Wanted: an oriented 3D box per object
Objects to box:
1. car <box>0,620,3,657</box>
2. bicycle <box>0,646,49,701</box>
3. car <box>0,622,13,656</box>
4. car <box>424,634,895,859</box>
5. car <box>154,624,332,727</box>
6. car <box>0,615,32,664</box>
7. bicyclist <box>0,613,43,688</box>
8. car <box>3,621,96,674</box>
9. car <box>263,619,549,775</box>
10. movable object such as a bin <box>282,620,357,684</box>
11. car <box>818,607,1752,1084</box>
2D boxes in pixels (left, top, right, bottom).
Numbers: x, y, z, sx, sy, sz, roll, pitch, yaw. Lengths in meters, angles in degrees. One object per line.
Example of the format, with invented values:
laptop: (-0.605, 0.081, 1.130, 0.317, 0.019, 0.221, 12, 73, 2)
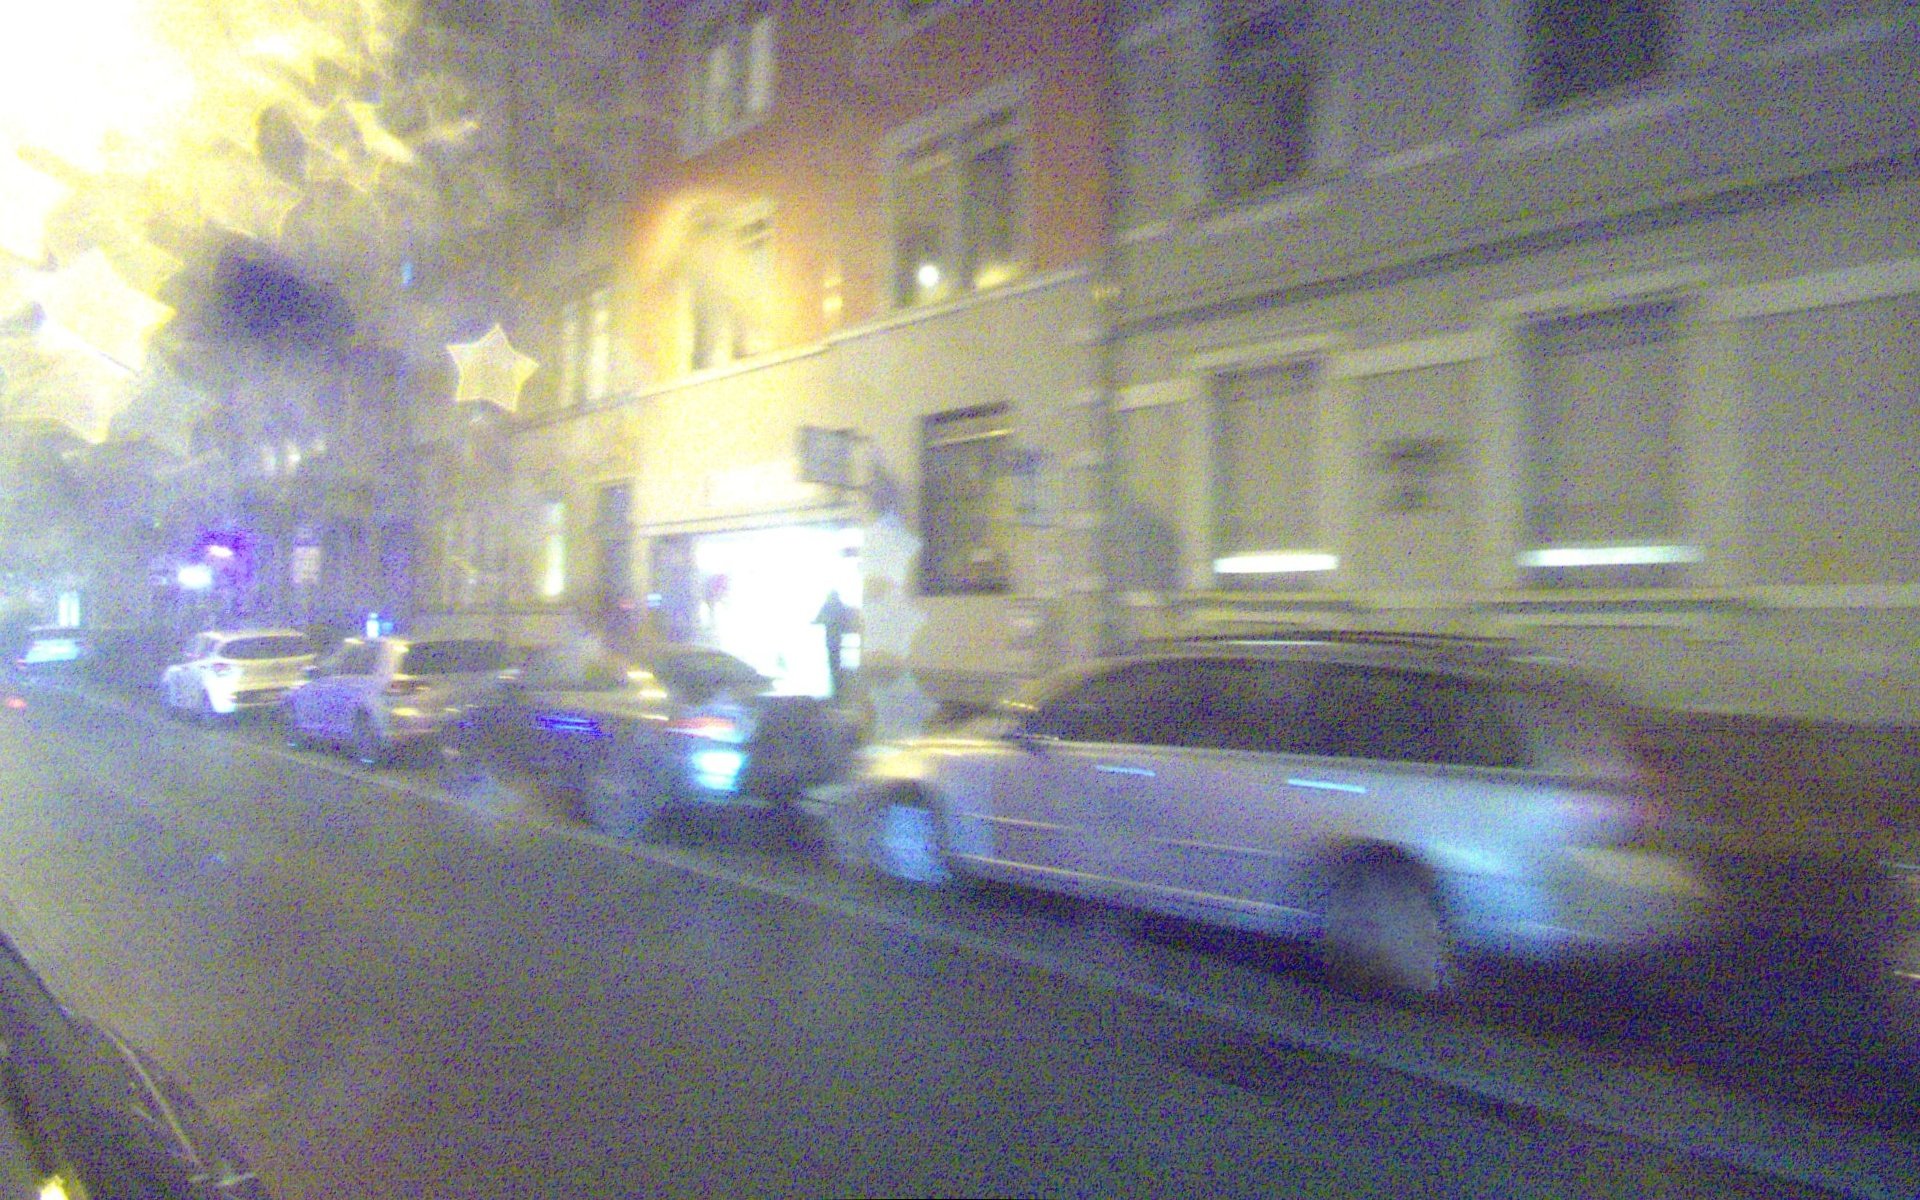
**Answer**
car: (-49.482, 1.915, 50.689, 4.828, 1.843, 1.882, -1, -2, 42)
bicycle: (-20.282, 1.558, 21.781, 2.347, 1.081, 0.719, -1, -3, 42)
car: (-42.729, 1.709, 44.320, 3.719, 1.471, 1.552, -1, -2, 42)
car: (-2.749, 1.010, 8.648, 4.424, 1.400, 1.803, -1, -2, 42)
car: (-12.065, 1.170, 16.963, 3.720, 1.502, 1.654, -1, -1, 42)
car: (-38.503, 1.542, 40.184, 5.205, 1.843, 1.974, -1, -2, 42)
bicyclist: (-20.365, 1.086, 21.844, 0.895, 1.568, 0.711, -1, -3, 41)
car: (-29.141, 1.475, 32.342, 4.771, 1.494, 1.748, -1, 1, 43)
car: (-6.847, 1.039, 12.333, 4.133, 1.584, 1.755, -1, -2, 42)
movable object such as a bin: (-15.150, 1.211, 23.926, 1.377, 1.465, 1.090, -1, -3, 40)
car: (1.350, 0.817, 5.308, 4.305, 1.492, 1.813, -1, -2, 42)
